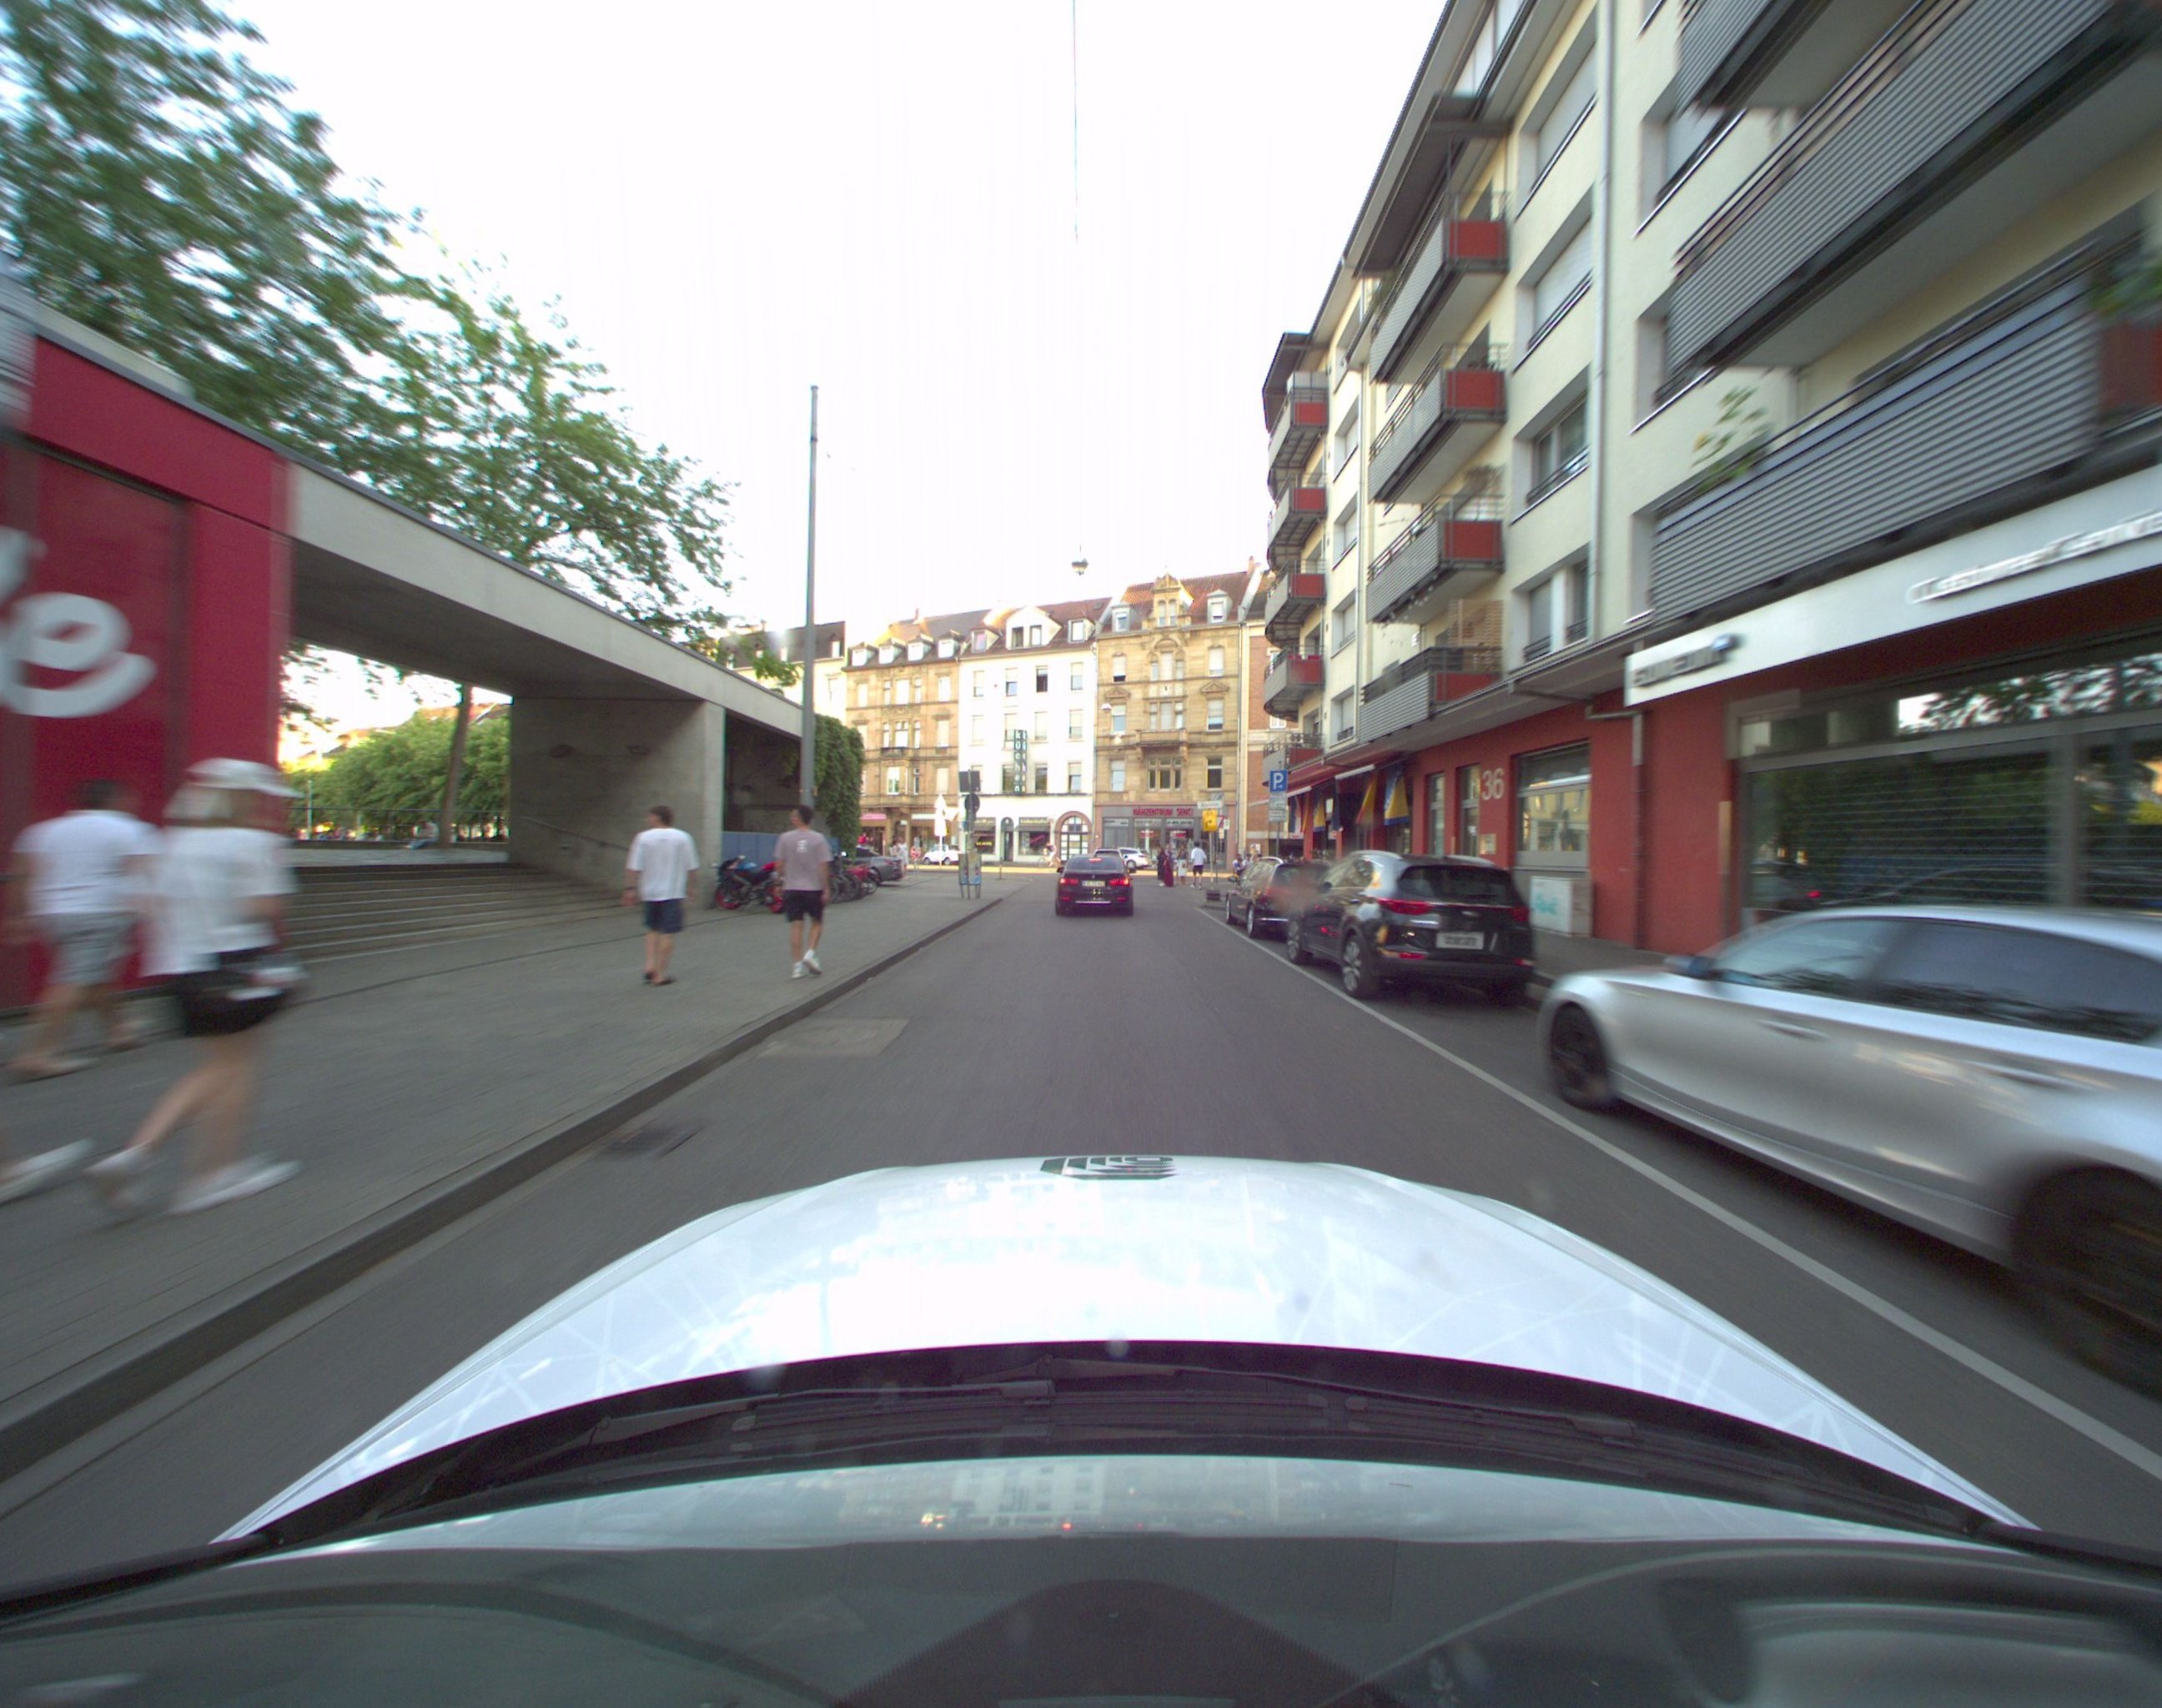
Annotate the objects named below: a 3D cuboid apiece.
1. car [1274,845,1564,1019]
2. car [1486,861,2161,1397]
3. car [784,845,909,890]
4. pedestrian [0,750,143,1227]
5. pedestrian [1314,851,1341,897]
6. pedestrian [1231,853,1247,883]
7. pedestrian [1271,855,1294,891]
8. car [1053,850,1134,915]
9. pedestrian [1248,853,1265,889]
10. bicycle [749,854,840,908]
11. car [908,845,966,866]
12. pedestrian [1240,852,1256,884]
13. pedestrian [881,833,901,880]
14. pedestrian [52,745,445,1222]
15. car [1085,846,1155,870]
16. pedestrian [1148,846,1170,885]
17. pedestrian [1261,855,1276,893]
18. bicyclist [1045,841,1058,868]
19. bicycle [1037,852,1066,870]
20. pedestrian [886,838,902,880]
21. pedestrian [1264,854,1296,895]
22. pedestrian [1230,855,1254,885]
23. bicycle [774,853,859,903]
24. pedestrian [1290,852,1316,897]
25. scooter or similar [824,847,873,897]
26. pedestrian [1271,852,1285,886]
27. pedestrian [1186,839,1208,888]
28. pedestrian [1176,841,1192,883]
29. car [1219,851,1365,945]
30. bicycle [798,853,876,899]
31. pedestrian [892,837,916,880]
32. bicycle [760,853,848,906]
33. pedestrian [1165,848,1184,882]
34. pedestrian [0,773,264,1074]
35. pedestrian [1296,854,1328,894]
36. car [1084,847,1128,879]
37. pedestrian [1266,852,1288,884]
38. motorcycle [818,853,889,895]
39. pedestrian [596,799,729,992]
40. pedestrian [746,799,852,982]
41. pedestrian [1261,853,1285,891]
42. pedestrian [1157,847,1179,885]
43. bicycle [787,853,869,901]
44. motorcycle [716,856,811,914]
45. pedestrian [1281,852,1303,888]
[{"bbox_3d":[3.913,0.747,10.466,1.759,1.642,4.792,3,1,1],"label":"car"},{"bbox_3d":[3.957,0.848,3.927,1.693,1.452,4.457,3,1,-1],"label":"car"},{"bbox_3d":[-8.231,0.454,28.923,3.983,1.501,1.887,0,1,-8],"label":"car"},{"bbox_3d":[-4.321,0.484,2.978,0.750,1.749,0.846,2,0,0],"label":"pedestrian"},{"bbox_3d":[7.406,0.591,24.489,0.604,1.348,0.696,-1,0,0],"label":"pedestrian"},{"bbox_3d":[6.663,0.569,34.407,0.613,1.254,0.737,0,0,7],"label":"pedestrian"},{"bbox_3d":[6.940,0.654,28.029,0.421,1.201,0.563,-3,0,-41],"label":"pedestrian"},{"bbox_3d":[0.336,0.612,20.235,1.758,1.375,4.792,1,1,1],"label":"car"},{"bbox_3d":[6.378,0.612,29.588,0.489,1.303,0.418,-3,0,1],"label":"pedestrian"},{"bbox_3d":[-6.274,0.578,17.889,1.788,1.107,0.500,2,0,0],"label":"bicycle"},{"bbox_3d":[-10.707,0.144,60.573,3.951,1.510,1.810,0,0,23],"label":"car"},{"bbox_3d":[6.796,0.547,33.140,0.613,1.284,0.661,0,0,9],"label":"pedestrian"},{"bbox_3d":[-7.637,0.107,32.753,0.580,1.882,0.635,0,0,7],"label":"pedestrian"},{"bbox_3d":[-3.452,0.473,3.491,0.647,1.750,0.986,1,0,0],"label":"pedestrian"},{"bbox_3d":[2.612,0.292,54.593,4.313,1.562,1.879,0,0,23],"label":"car"},{"bbox_3d":[3.247,0.468,33.993,0.724,1.609,0.648,2,0,-8],"label":"pedestrian"},{"bbox_3d":[6.274,0.667,27.271,0.340,1.257,0.362,-3,0,37],"label":"pedestrian"},{"bbox_3d":[-1.906,0.040,52.661,0.612,1.756,0.528,1,0,30],"label":"bicyclist"},{"bbox_3d":[-1.913,0.454,52.654,1.777,1.107,0.541,1,0,30],"label":"bicycle"},{"bbox_3d":[-7.385,0.204,32.131,0.498,1.643,0.521,0,0,3],"label":"pedestrian"},{"bbox_3d":[6.347,0.633,25.970,0.856,1.257,0.491,-3,0,1],"label":"pedestrian"},{"bbox_3d":[6.415,0.634,32.480,0.885,1.149,0.620,0,0,8],"label":"pedestrian"},{"bbox_3d":[-6.232,0.571,19.233,1.791,1.107,0.499,2,0,-5],"label":"bicycle"},{"bbox_3d":[6.584,0.599,24.148,0.683,1.286,0.610,-1,0,10],"label":"pedestrian"},{"bbox_3d":[-6.161,0.473,21.593,1.206,1.274,0.420,2,0,-15],"label":"scooter or similar"},{"bbox_3d":[7.530,0.572,31.110,0.486,1.276,0.523,0,0,14],"label":"pedestrian"},{"bbox_3d":[4.495,0.356,31.532,0.674,1.877,0.700,1,0,-3],"label":"pedestrian"},{"bbox_3d":[4.385,0.334,34.657,0.664,1.746,0.608,0,0,7],"label":"pedestrian"},{"bbox_3d":[4.017,0.744,16.358,1.758,1.502,4.792,3,1,1],"label":"car"},{"bbox_3d":[-6.213,0.560,20.758,1.788,1.107,0.500,2,0,0],"label":"bicycle"},{"bbox_3d":[-7.272,0.192,33.477,0.665,1.746,0.661,0,0,41],"label":"pedestrian"},{"bbox_3d":[-6.267,0.573,18.484,1.787,1.107,0.500,2,0,3],"label":"bicycle"},{"bbox_3d":[4.009,0.474,35.057,0.811,1.474,0.607,0,0,5],"label":"pedestrian"},{"bbox_3d":[-5.979,0.404,5.168,0.715,1.754,0.848,0,0,0],"label":"pedestrian"},{"bbox_3d":[7.509,0.639,26.504,0.776,1.223,0.714,-3,0,1],"label":"pedestrian"},{"bbox_3d":[1.252,0.391,38.852,1.869,1.473,4.006,0,1,5],"label":"car"},{"bbox_3d":[7.898,0.563,32.853,0.611,1.279,0.705,0,1,38],"label":"pedestrian"},{"bbox_3d":[-6.270,0.562,22.491,1.757,1.101,0.561,2,0,-34],"label":"motorcycle"},{"bbox_3d":[-4.207,0.393,8.264,0.739,1.812,1.009,3,0,0],"label":"pedestrian"},{"bbox_3d":[-3.114,0.378,9.084,0.741,1.893,1.051,2,0,2],"label":"pedestrian"},{"bbox_3d":[6.795,0.636,28.843,0.631,1.276,0.506,-3,0,-37],"label":"pedestrian"},{"bbox_3d":[3.570,0.499,33.356,0.735,1.513,0.648,2,0,-8],"label":"pedestrian"},{"bbox_3d":[-6.180,0.565,19.936,1.790,1.107,0.500,2,0,-3],"label":"bicycle"},{"bbox_3d":[-6.418,0.598,16.457,1.784,1.064,0.769,2,0,26],"label":"motorcycle"},{"bbox_3d":[7.077,0.538,27.272,0.421,1.201,0.531,-3,0,-42],"label":"pedestrian"}]
